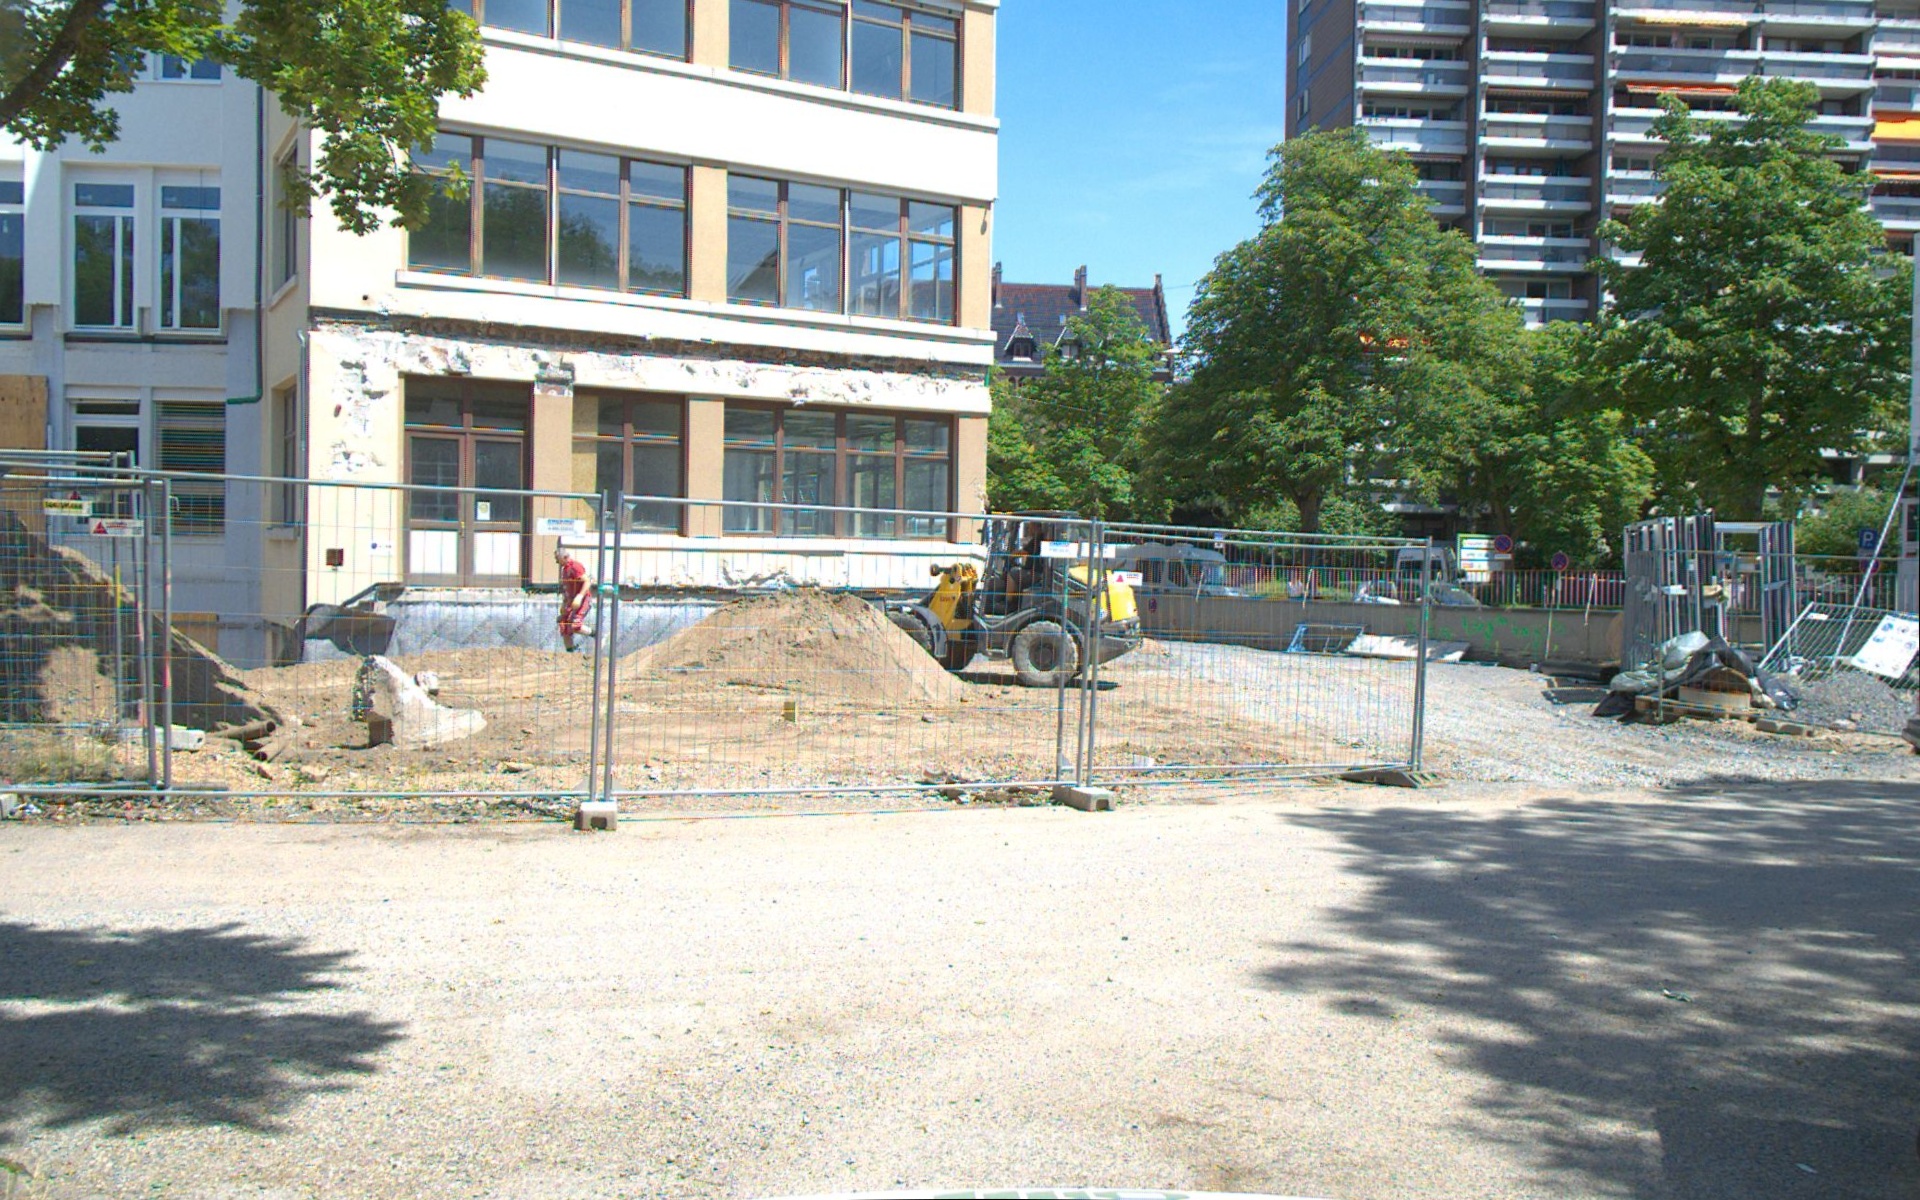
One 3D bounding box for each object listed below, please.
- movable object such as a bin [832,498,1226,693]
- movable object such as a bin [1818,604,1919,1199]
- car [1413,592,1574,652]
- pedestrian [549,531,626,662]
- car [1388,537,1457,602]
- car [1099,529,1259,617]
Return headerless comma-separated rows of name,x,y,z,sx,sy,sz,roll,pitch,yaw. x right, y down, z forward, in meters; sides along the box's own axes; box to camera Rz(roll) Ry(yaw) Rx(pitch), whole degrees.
movable object such as a bin,1.055,-0.120,24.471,5.291,2.507,2.369,3,1,19
movable object such as a bin,2.853,0.768,3.771,1.053,1.483,1.377,1,1,-1
car,12.543,0.497,38.824,3.676,1.343,1.597,0,1,-31
pedestrian,-5.482,-0.060,24.331,0.969,1.879,0.911,0,1,-22
car,17.226,-1.119,61.480,2.139,2.297,4.870,1,1,20
car,6.429,-0.804,49.146,1.973,2.458,5.190,0,1,-30
